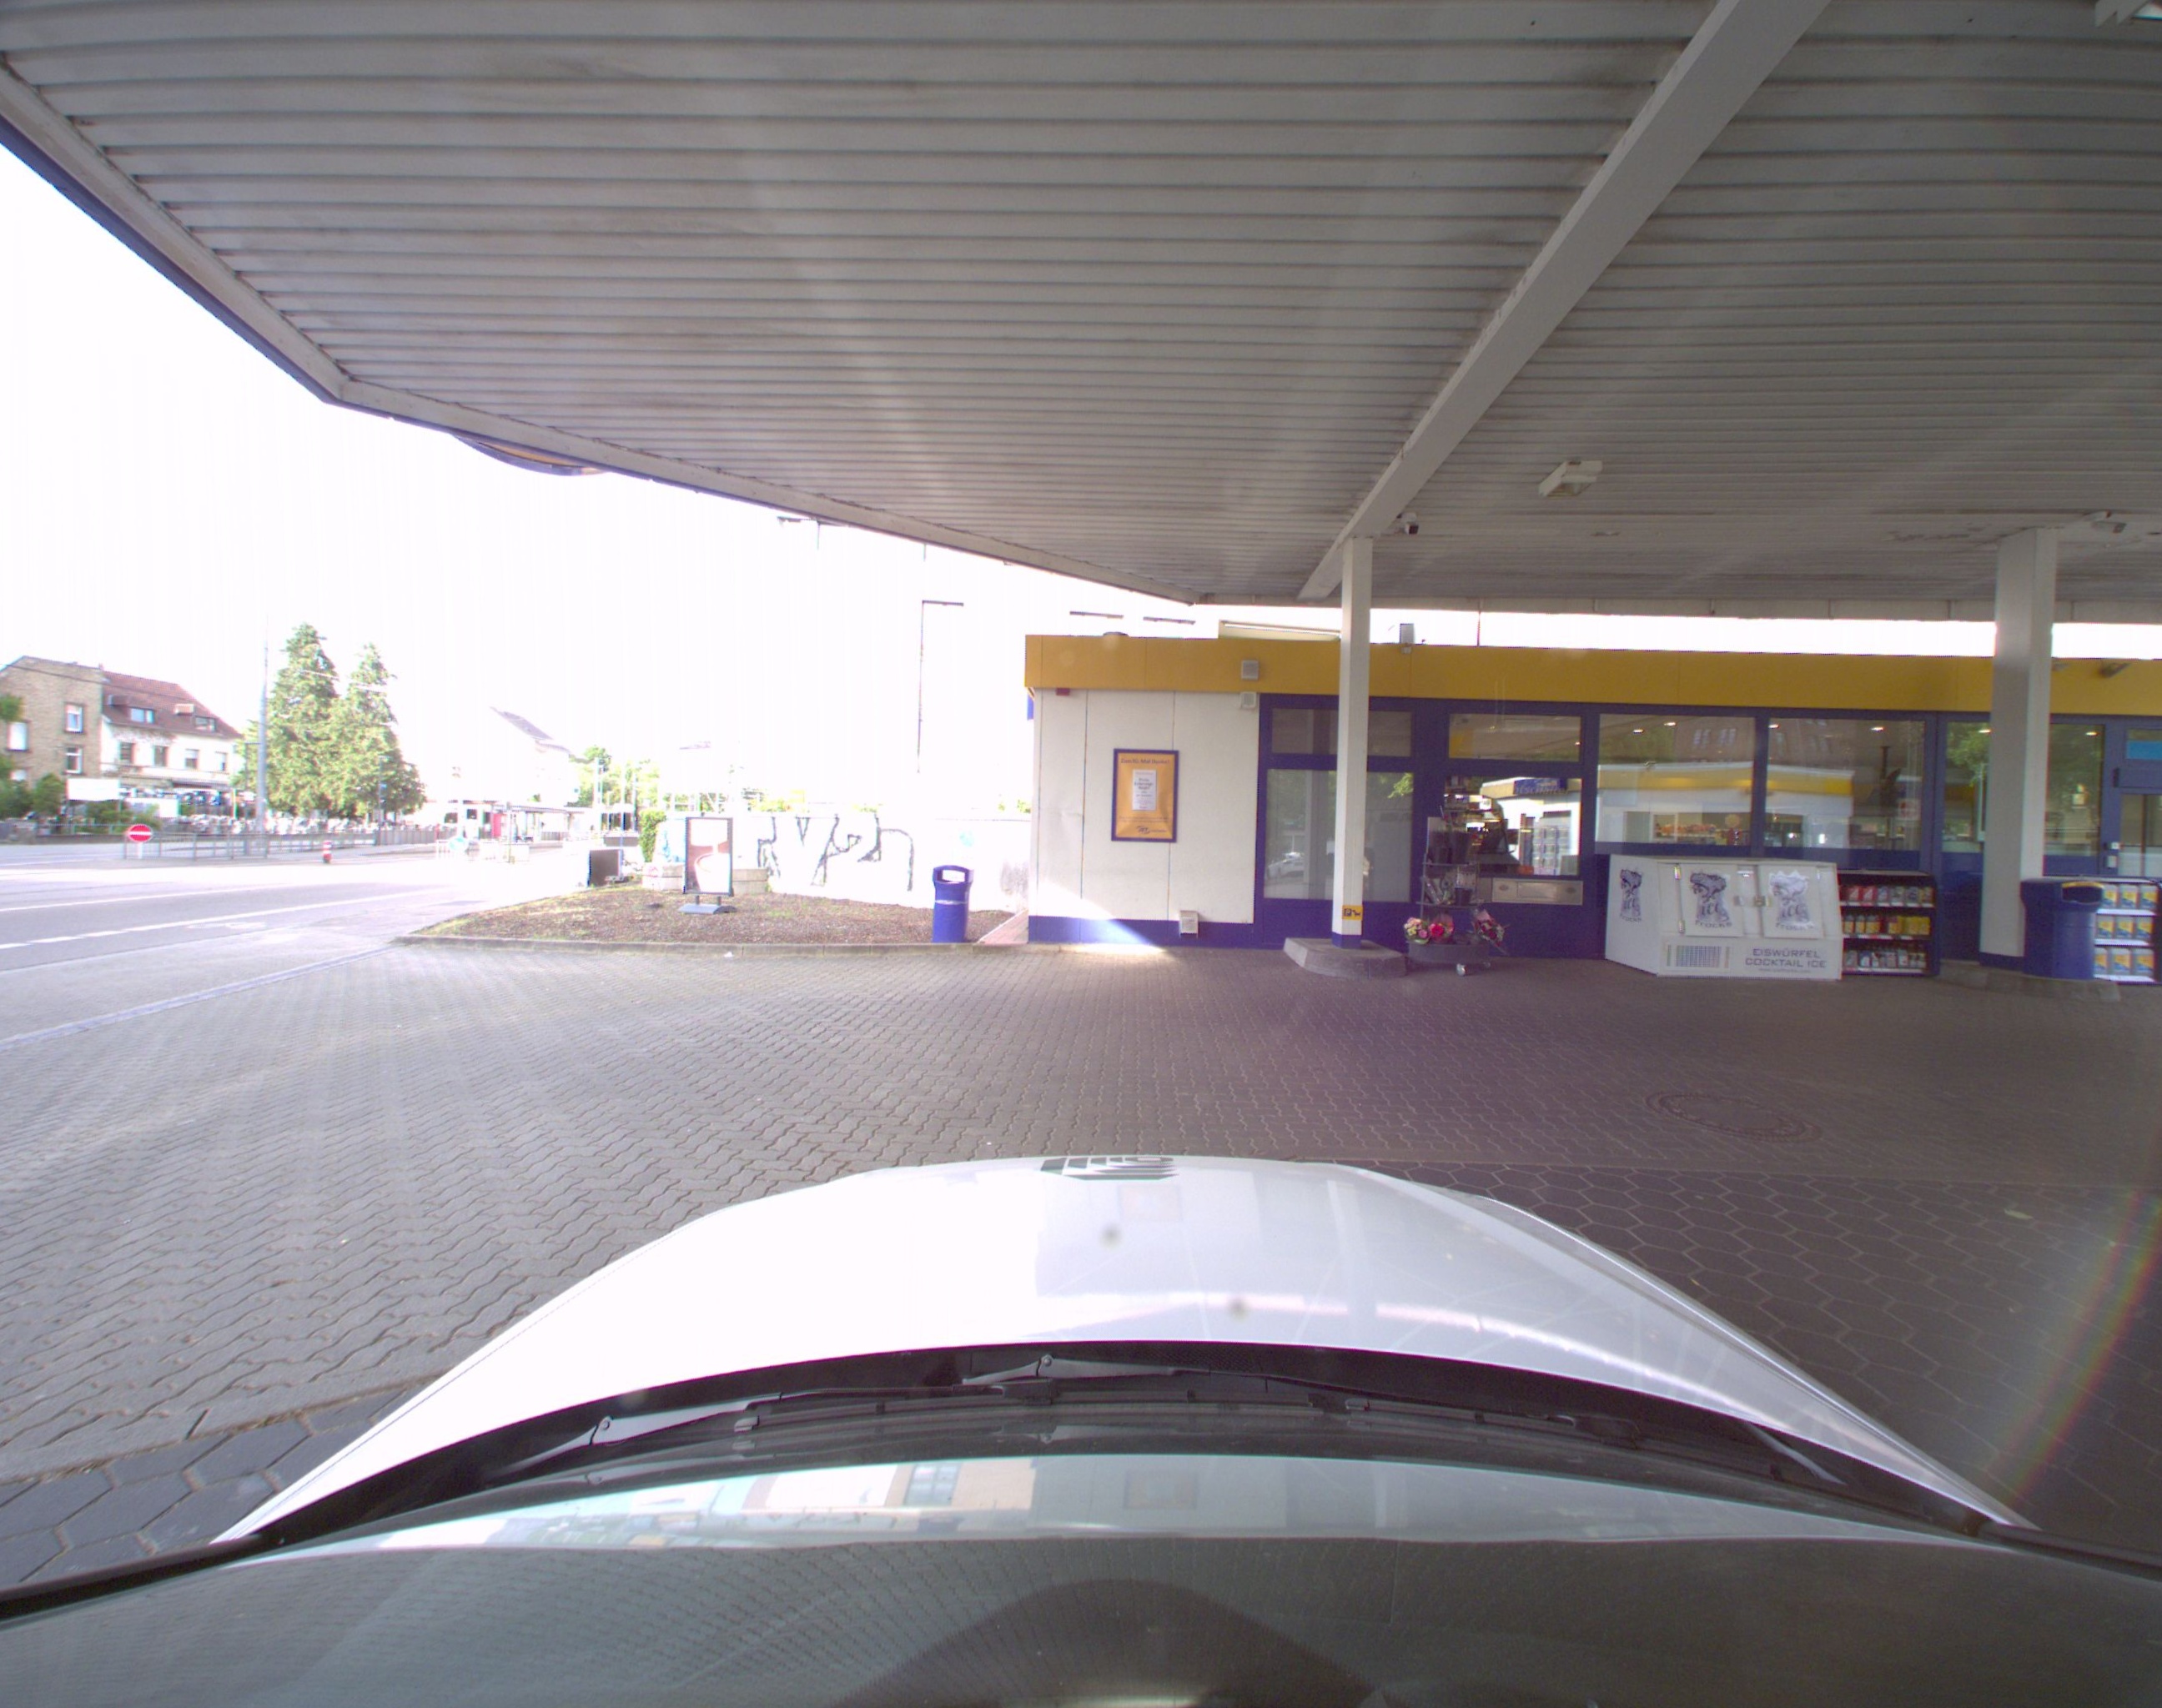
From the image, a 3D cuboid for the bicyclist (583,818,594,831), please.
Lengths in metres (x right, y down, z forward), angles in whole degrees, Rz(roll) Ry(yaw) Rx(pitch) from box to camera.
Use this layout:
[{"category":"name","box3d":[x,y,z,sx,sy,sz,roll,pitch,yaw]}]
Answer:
[{"category":"bicyclist","box3d":[-57.318,-3.432,94.791,0.750,1.409,0.917,8,-1,-13]}]

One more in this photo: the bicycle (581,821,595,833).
[{"category":"bicycle","box3d":[-57.332,-3.117,94.722,0.750,1.203,1.813,9,-1,-13]}]
